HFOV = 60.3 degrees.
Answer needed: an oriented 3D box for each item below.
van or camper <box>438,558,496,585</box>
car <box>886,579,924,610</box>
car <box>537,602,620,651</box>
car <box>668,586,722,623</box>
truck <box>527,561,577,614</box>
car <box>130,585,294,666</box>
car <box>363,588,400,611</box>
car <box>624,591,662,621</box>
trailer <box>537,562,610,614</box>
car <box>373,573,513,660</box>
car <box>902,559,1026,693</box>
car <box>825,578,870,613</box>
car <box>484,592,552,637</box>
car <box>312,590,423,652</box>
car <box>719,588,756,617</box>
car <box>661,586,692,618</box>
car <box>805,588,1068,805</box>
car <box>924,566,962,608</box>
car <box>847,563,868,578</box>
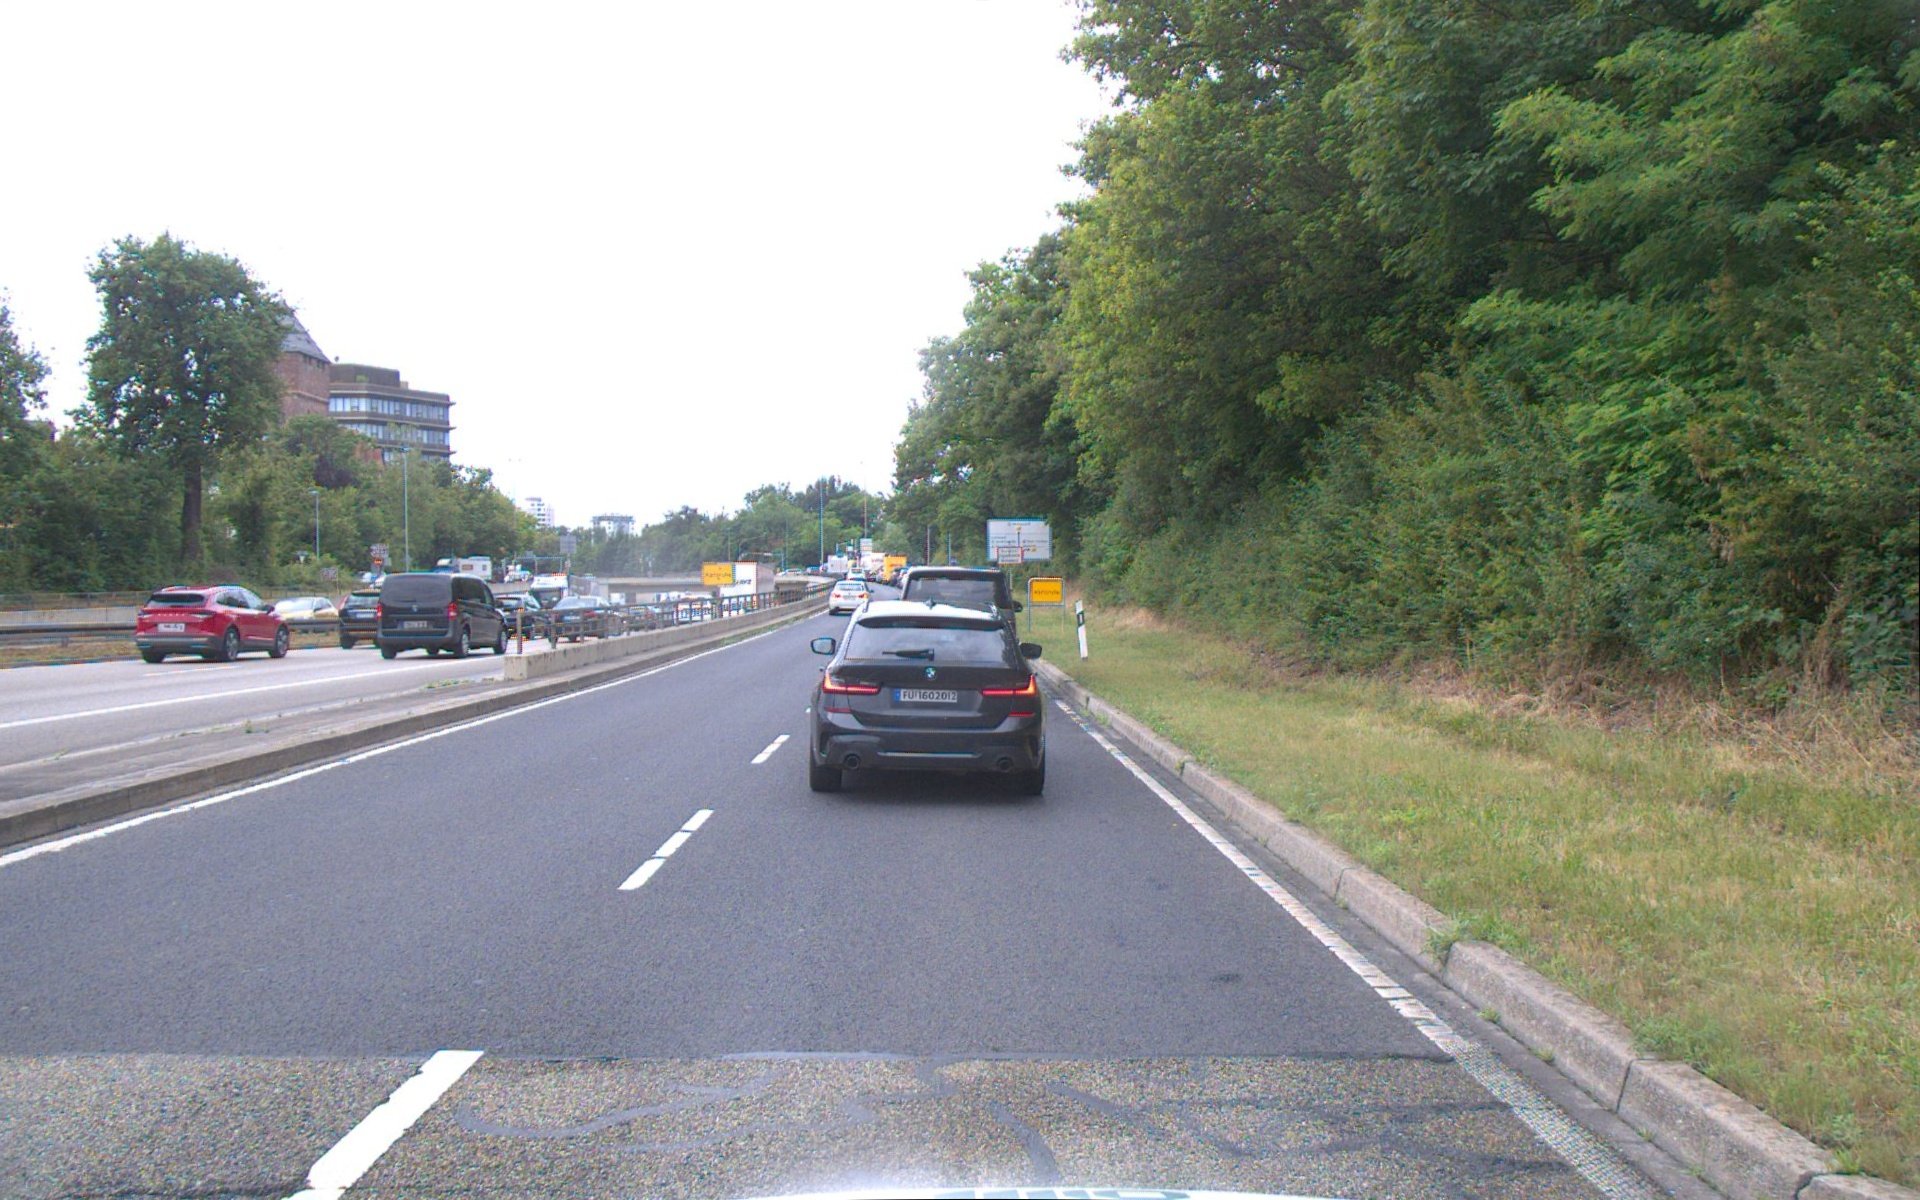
[{"bbox_3d":[-52.798,-3.072,177.139,5.617,2.683,1.891,1,0,-43],"label":"van or camper"},{"bbox_3d":[-2.728,-0.281,82.544,1.821,1.489,4.532,1,0,-2],"label":"car"},{"bbox_3d":[-12.522,0.845,54.564,1.678,1.482,4.666,0,0,0],"label":"car"},{"bbox_3d":[-12.670,0.210,79.349,1.906,1.721,4.506,0,0,-1],"label":"car"},{"bbox_3d":[-30.319,-0.912,123.074,2.540,3.834,4.777,0,0,-1],"label":"truck"},{"bbox_3d":[-16.357,0.520,36.410,1.716,1.664,4.266,0,0,-1],"label":"car"},{"bbox_3d":[-38.998,-0.058,111.549,1.319,1.551,3.369,0,0,-1],"label":"car"},{"bbox_3d":[-18.495,0.333,96.620,1.654,1.660,3.733,1,0,-2],"label":"car"},{"bbox_3d":[-30.461,-0.935,130.945,2.538,3.823,14.723,0,0,-1],"label":"trailer"},{"bbox_3d":[-12.007,0.349,38.760,1.953,1.883,4.809,0,0,-3],"label":"car"},{"bbox_3d":[0.033,0.366,25.611,1.759,1.904,3.999,0,0,-1],"label":"car"},{"bbox_3d":[-4.938,-0.220,73.375,1.821,1.489,4.882,1,0,-2],"label":"car"},{"bbox_3d":[-17.064,0.525,64.013,1.654,1.636,4.006,1,0,-2],"label":"car"},{"bbox_3d":[-17.374,0.582,48.685,1.852,1.711,4.304,0,0,-2],"label":"car"},{"bbox_3d":[-12.520,0.138,93.130,1.733,1.577,3.491,0,0,-2],"label":"car"},{"bbox_3d":[-18.916,0.093,110.470,1.414,2.080,3.680,0,0,0],"label":"car"},{"bbox_3d":[-0.251,0.662,13.504,1.809,1.492,3.998,1,0,-3],"label":"car"},{"bbox_3d":[-0.665,-0.497,64.076,1.423,1.567,3.224,0,0,-1],"label":"car"},{"bbox_3d":[-11.108,-3.180,179.651,1.895,1.624,3.868,0,0,-9],"label":"car"}]
